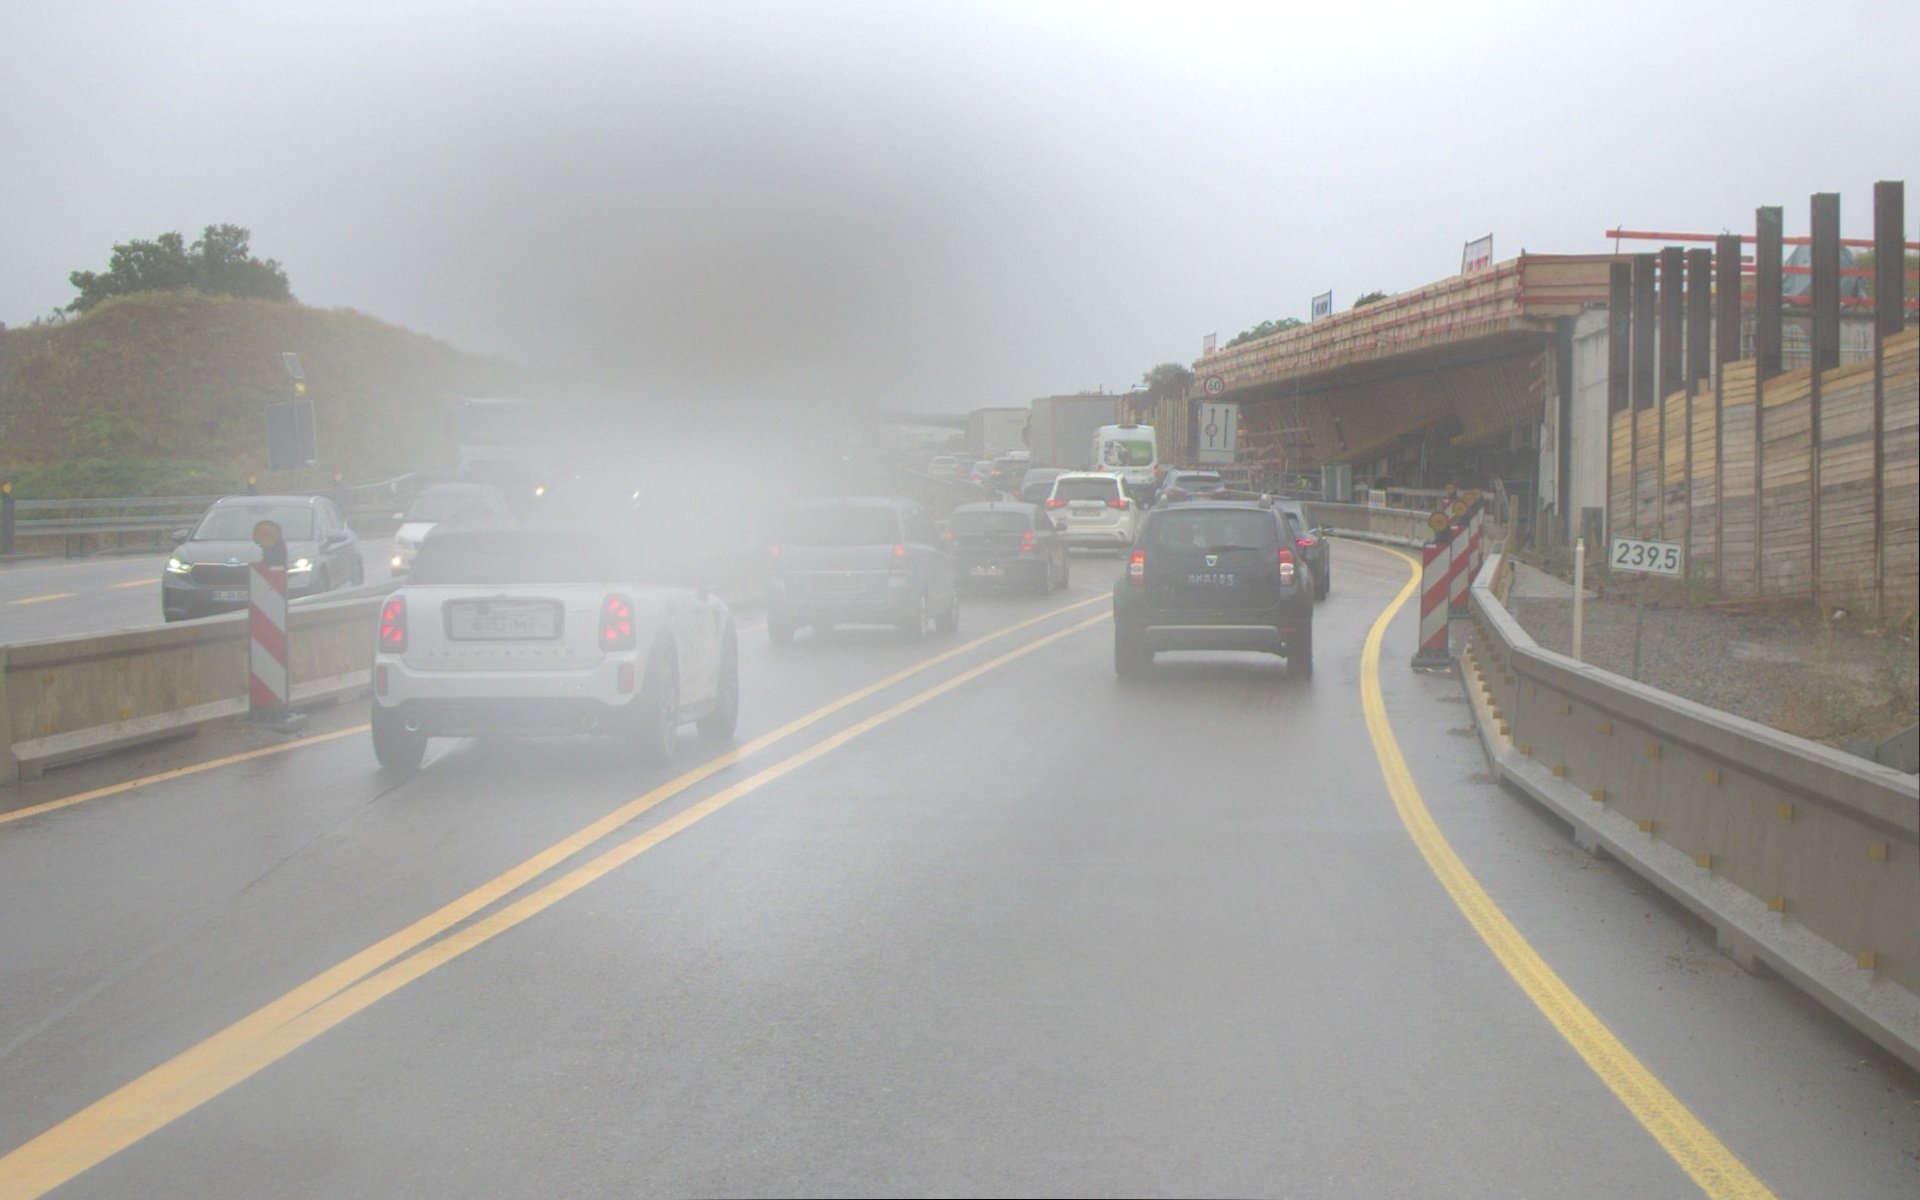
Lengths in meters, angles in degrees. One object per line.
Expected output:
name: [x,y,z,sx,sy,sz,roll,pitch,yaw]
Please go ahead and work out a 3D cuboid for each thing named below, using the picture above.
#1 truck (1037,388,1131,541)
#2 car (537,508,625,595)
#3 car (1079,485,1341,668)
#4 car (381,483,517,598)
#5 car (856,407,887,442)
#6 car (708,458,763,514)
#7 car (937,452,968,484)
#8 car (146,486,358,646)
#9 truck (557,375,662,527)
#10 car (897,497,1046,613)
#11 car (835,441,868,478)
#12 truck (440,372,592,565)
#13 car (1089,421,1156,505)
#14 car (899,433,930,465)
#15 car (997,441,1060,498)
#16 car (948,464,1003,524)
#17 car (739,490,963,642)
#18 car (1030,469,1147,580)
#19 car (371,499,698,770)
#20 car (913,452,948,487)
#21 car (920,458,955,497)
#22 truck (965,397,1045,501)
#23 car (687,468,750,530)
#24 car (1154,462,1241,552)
truck: [4.927,-5.212,134.779,3.102,5.408,9.440,0,-1,6]
car: [-8.496,-1.072,77.223,1.623,1.804,3.637,0,-1,-1]
car: [2.282,-0.170,32.446,2.081,1.595,4.140,0,-1,-1]
car: [-8.758,-0.986,59.209,1.785,1.804,4.499,0,-1,-2]
car: [-5.906,-11.646,228.533,1.993,2.007,4.000,0,-1,-2]
car: [-10.009,-5.072,153.480,2.217,2.362,4.664,1,0,-1]
car: [-0.533,-9.223,240.072,1.993,2.007,4.000,0,-1,-3]
car: [-8.607,-0.362,42.119,1.785,1.804,4.499,0,-1,-2]
truck: [-13.069,-5.491,128.924,3.141,5.399,8.523,1,0,-1]
car: [0.128,-0.650,52.026,1.993,1.595,4.140,0,-1,-3]
car: [-6.761,-8.751,214.478,1.993,2.007,4.000,0,-1,-2]
truck: [-11.823,-3.407,92.248,3.083,4.903,8.564,1,0,-1]
car: [5.406,-4.533,114.731,1.993,2.476,4.981,0,-1,0]
car: [-3.139,-10.329,235.303,1.993,2.007,4.000,-1,0,-2]
car: [2.369,-4.527,120.079,1.993,1.755,3.814,0,-1,-2]
car: [0.632,-4.179,136.335,1.994,2.155,4.140,0,-1,3]
car: [-1.182,-0.338,39.315,1.994,1.595,4.139,0,-1,6]
car: [2.505,-1.465,67.986,1.993,2.007,3.893,0,-1,-3]
car: [-2.671,0.235,22.431,1.815,1.595,4.308,0,-1,-3]
car: [-1.809,-7.930,209.063,1.993,2.007,4.000,-1,0,-2]
car: [-1.259,-6.722,188.610,1.849,1.887,4.021,0,-1,-1]
truck: [2.481,-8.529,196.245,3.803,5.026,12.921,0,-1,-3]
car: [-9.635,-4.032,137.617,2.238,2.351,4.877,1,0,-1]
car: [6.241,-2.432,90.689,1.993,2.155,4.140,0,-1,0]
